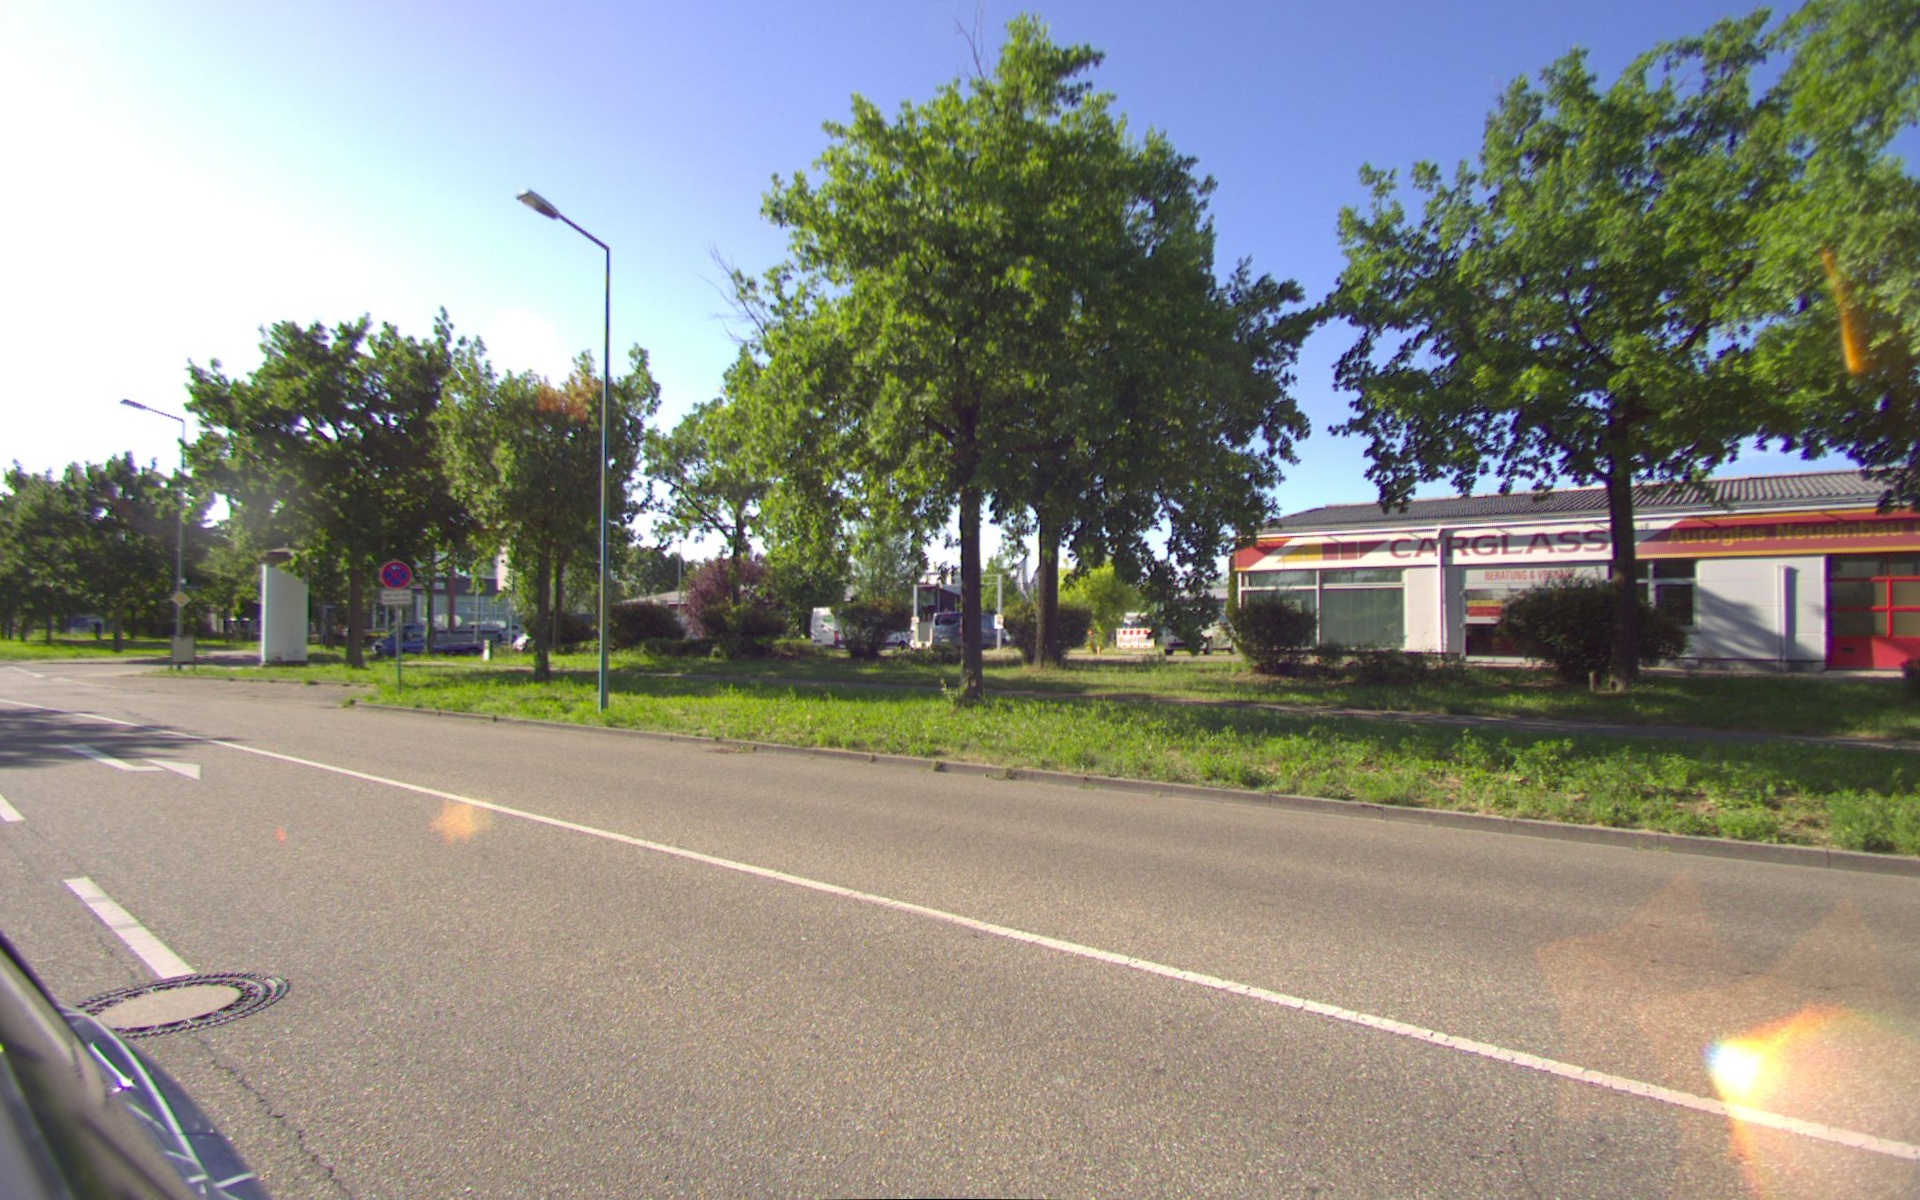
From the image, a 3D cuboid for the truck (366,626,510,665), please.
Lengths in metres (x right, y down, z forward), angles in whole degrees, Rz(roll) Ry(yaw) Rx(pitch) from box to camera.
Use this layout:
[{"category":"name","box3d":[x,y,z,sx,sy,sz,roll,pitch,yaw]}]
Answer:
[{"category":"truck","box3d":[-29.605,2.589,57.710,2.138,2.065,7.042,-1,-2,38]}]

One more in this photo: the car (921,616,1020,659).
[{"category":"car","box3d":[0.600,1.879,51.403,2.297,2.085,5.358,-1,-2,37]}]

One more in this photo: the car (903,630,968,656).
[{"category":"car","box3d":[-1.278,2.274,53.855,1.573,1.312,3.488,-2,-2,38]}]

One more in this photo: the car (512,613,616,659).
[{"category":"car","box3d":[-24.965,2.223,64.014,2.297,2.723,5.807,-1,0,37]}]

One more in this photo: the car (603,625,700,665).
[{"category":"car","box3d":[-21.060,3.018,69.377,2.297,2.535,6.279,-1,0,37]}]

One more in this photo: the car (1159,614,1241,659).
[{"category":"car","box3d":[8.541,1.269,35.857,1.590,1.509,3.564,-1,-2,36]}]

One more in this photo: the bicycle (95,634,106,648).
[{"category":"bicycle","box3d":[-78.735,3.760,92.697,2.335,1.170,0.545,-1,-1,44]}]

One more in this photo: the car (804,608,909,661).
[{"category":"car","box3d":[-5.653,1.853,56.207,2.297,2.723,6.102,-1,0,37]}]

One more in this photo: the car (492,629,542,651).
[{"category":"car","box3d":[-35.726,3.174,81.580,4.296,1.505,1.973,1,1,41]}]

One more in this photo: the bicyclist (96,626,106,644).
[{"category":"bicyclist","box3d":[-78.609,3.166,92.614,0.659,1.641,0.656,-1,-1,43]}]
